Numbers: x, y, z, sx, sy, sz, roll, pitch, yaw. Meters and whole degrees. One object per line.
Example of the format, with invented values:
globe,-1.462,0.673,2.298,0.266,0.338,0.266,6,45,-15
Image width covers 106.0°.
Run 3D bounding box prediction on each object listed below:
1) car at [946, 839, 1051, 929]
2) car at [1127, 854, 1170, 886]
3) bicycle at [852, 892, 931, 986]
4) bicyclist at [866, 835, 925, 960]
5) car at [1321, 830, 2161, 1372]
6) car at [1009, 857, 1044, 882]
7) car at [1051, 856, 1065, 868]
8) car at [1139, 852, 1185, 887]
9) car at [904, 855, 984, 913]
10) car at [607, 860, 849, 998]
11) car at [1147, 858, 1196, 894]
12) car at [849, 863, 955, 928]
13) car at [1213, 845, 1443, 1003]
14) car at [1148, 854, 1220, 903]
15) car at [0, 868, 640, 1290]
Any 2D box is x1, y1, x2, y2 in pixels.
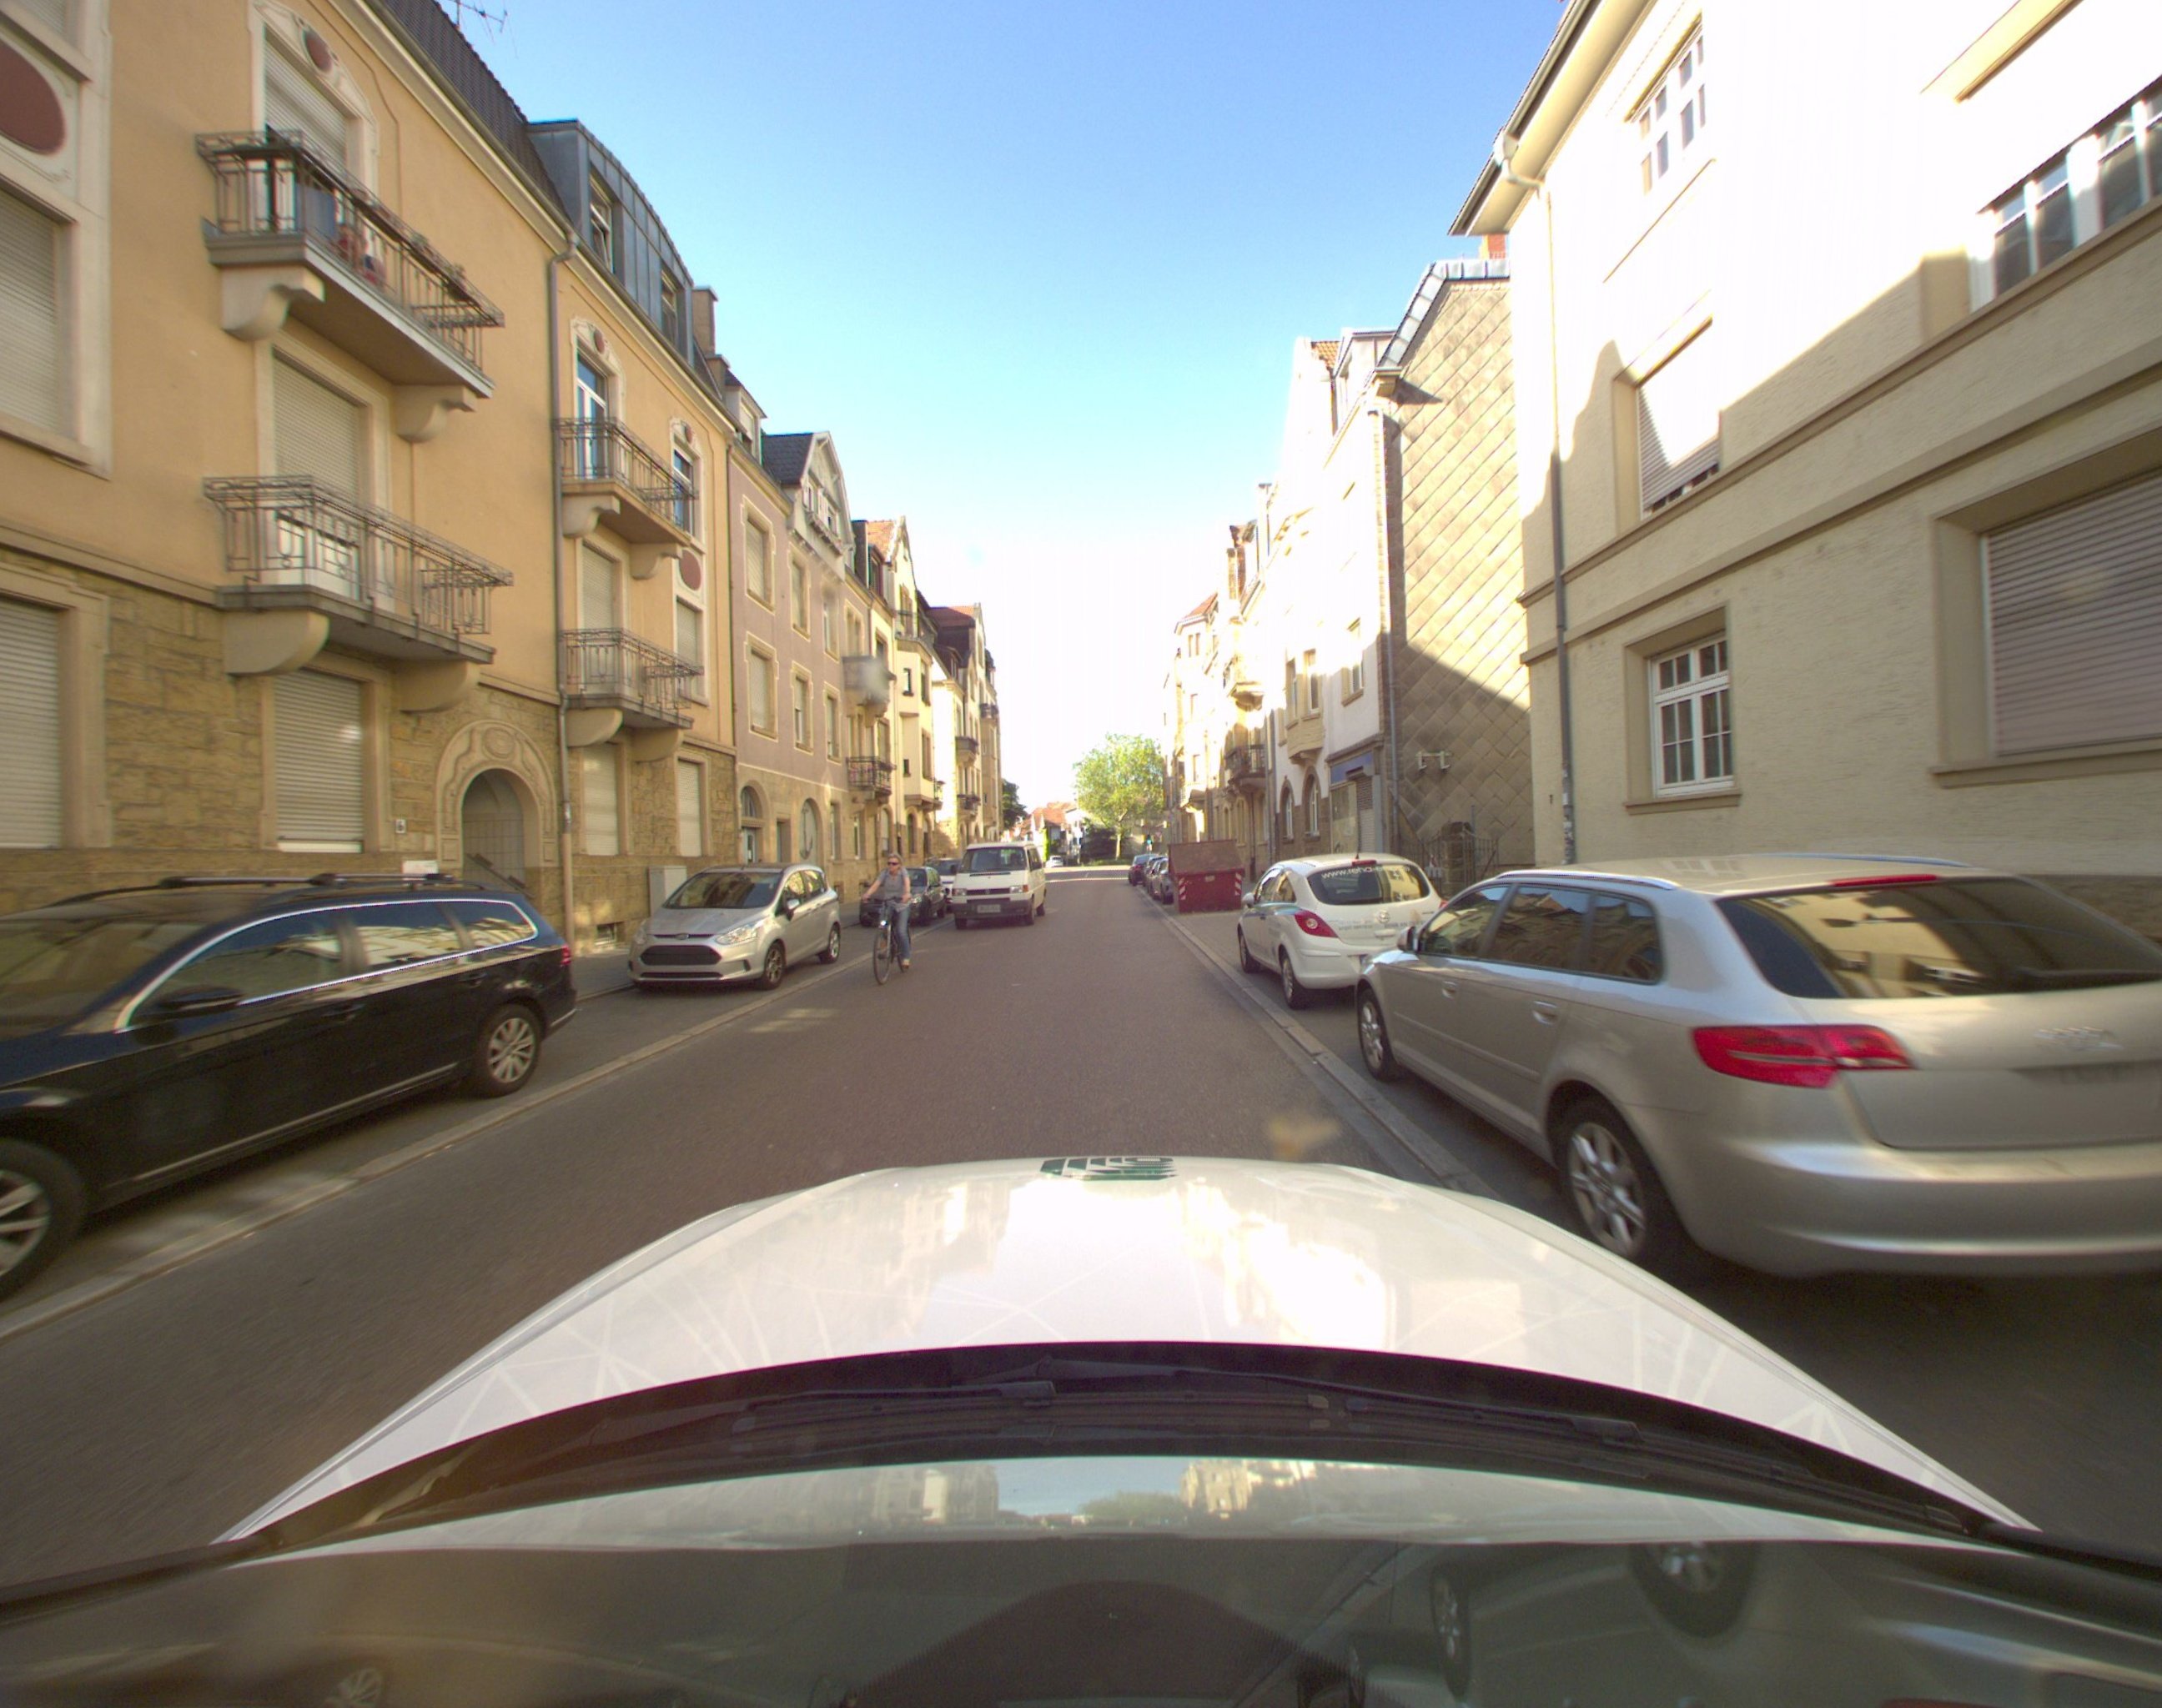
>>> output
car,-1.897,0.655,20.169,1.856,1.937,4.602,-2,0,3
car,3.370,0.763,41.440,1.859,1.462,4.340,-2,0,1
bicycle,-2.534,1.104,11.057,0.538,1.076,1.801,-2,0,3
bicyclist,-2.537,0.582,11.212,0.605,1.665,0.632,-2,0,2
car,2.684,0.686,4.322,1.647,1.464,4.095,-2,0,1
car,-3.362,0.976,51.114,1.626,1.464,3.739,-2,0,4
car,-3.059,1.072,108.048,1.669,1.483,3.521,-1,-1,0
car,3.593,0.657,36.629,1.645,1.442,4.259,-2,0,1
car,-4.092,0.852,24.889,1.709,1.583,4.020,2,0,0
car,-4.639,0.884,11.335,1.709,1.538,3.723,-1,0,0
car,3.420,0.813,31.461,1.685,1.254,3.945,-1,0,4
car,-4.377,0.956,20.414,1.666,1.393,3.668,2,0,2
car,2.687,0.676,9.713,1.581,1.464,3.711,-2,0,0
car,3.296,0.742,26.723,1.781,1.430,3.805,-2,0,-2
car,-4.803,0.916,5.130,1.709,1.521,4.110,-2,0,1
